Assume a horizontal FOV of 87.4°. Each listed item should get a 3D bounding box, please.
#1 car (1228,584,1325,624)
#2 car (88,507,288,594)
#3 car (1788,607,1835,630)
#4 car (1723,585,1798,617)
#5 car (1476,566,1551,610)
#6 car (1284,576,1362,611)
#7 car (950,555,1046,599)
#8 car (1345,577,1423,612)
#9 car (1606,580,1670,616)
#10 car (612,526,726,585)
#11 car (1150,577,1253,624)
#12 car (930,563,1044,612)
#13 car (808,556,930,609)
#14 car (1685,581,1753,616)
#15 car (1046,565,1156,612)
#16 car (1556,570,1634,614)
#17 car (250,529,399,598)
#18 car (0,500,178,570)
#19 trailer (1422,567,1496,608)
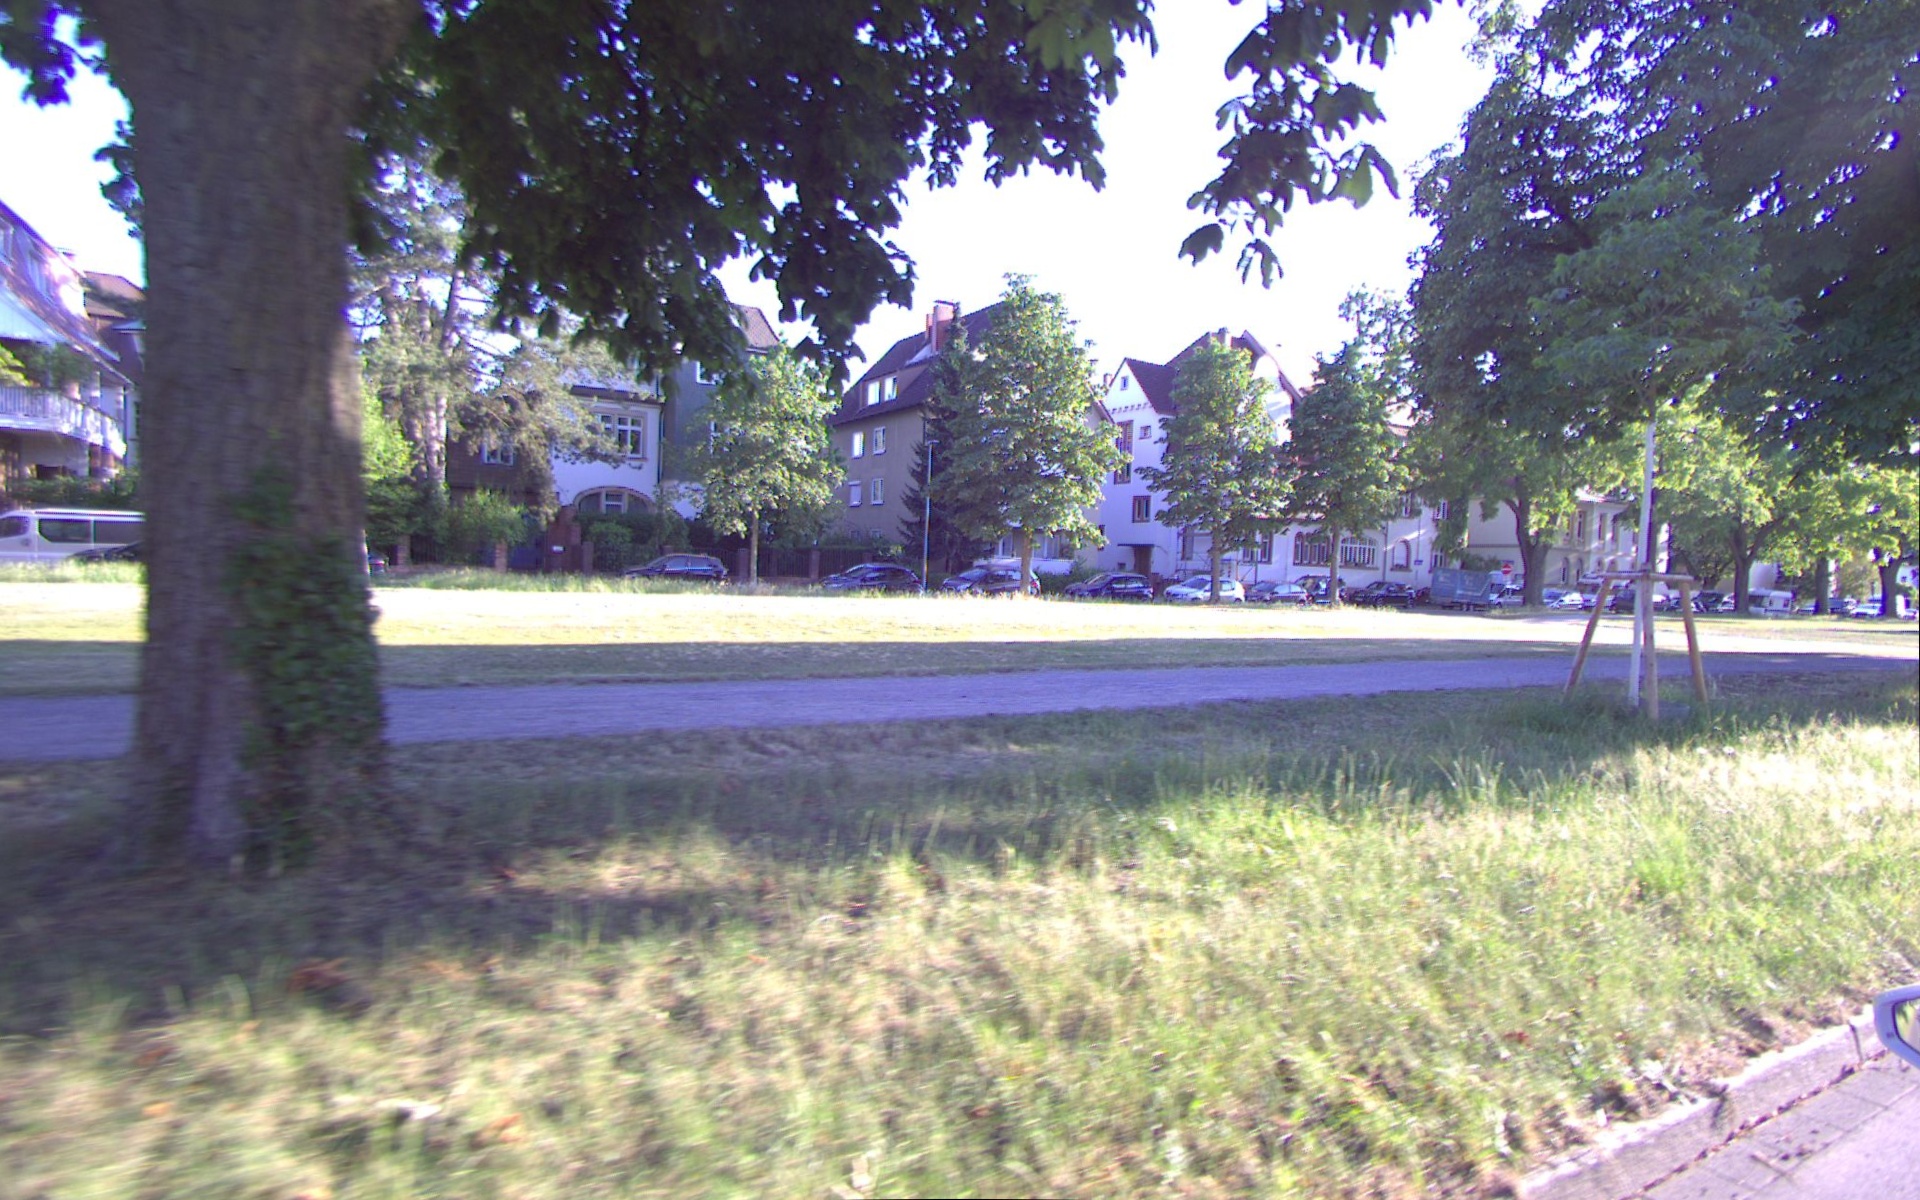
[{"bbox_3d":[14.999,0.194,47.623,4.204,1.671,1.984,2,3,-29],"label":"car"},{"bbox_3d":[-20.310,-1.281,26.664,3.953,2.041,1.984,1,3,-30],"label":"car"},{"bbox_3d":[79.125,1.732,93.293,4.433,2.040,1.984,2,0,-31],"label":"car"},{"bbox_3d":[59.332,0.087,74.474,5.394,2.266,2.522,1,2,-30],"label":"car"},{"bbox_3d":[37.284,-0.793,67.619,5.126,2.708,1.984,1,2,-30],"label":"car"},{"bbox_3d":[21.058,-0.366,58.230,4.448,1.901,1.981,1,2,-33],"label":"car"},{"bbox_3d":[1.768,-1.072,46.365,3.957,1.807,1.982,2,3,-33],"label":"car"},{"bbox_3d":[25.929,-0.319,61.344,4.697,1.979,1.982,1,2,-32],"label":"car"},{"bbox_3d":[43.944,-0.126,65.069,4.263,2.205,1.677,1,2,-30],"label":"car"},{"bbox_3d":[-11.284,-1.705,38.916,3.948,2.041,1.986,1,3,-26],"label":"car"},{"bbox_3d":[10.869,0.038,45.208,4.204,1.885,1.984,2,3,-29],"label":"car"},{"bbox_3d":[1.060,-0.481,39.190,3.950,1.706,1.985,2,2,-28],"label":"car"},{"bbox_3d":[-3.314,-0.622,36.747,3.950,1.706,1.985,2,2,-28],"label":"car"},{"bbox_3d":[53.568,-0.087,70.856,5.126,2.280,1.983,1,2,-31],"label":"car"},{"bbox_3d":[5.951,-0.484,42.334,4.204,1.744,1.984,2,3,-29],"label":"car"},{"bbox_3d":[46.486,-0.570,73.532,5.751,2.961,2.426,2,0,-31],"label":"car"},{"bbox_3d":[-20.716,-1.180,32.941,3.951,2.041,1.984,1,3,-29],"label":"car"},{"bbox_3d":[-25.944,-1.899,29.593,4.356,1.862,1.808,1,2,-30],"label":"car"},{"bbox_3d":[32.185,-0.792,64.749,4.668,2.461,1.984,1,2,-30],"label":"trailer"}]
